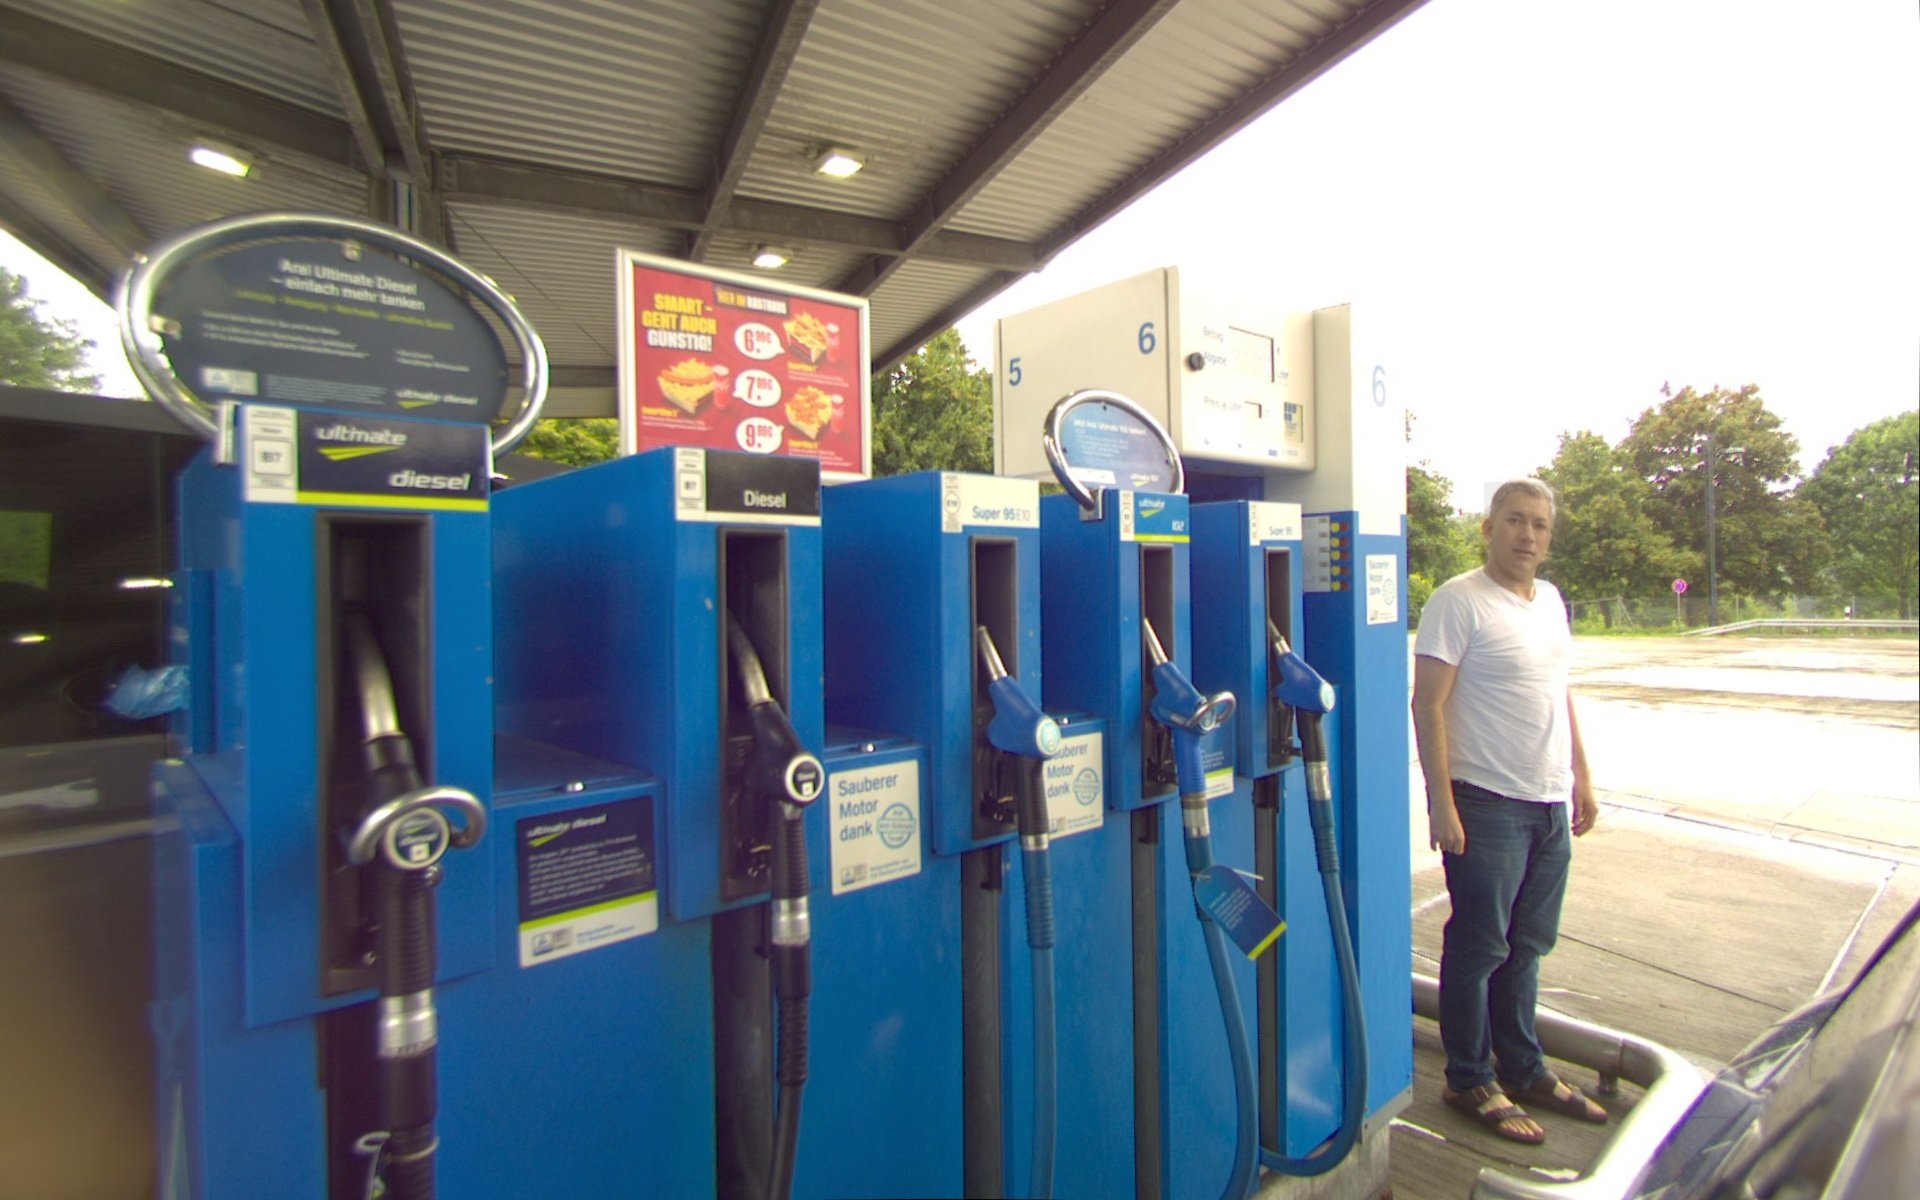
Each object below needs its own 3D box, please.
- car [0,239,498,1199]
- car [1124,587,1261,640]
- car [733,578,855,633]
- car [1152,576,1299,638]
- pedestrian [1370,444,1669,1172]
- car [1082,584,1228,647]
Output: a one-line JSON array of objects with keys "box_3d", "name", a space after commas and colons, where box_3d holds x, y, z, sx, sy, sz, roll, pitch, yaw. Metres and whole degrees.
[{"box_3d": [-3.024, 0.409, 1.482, 3.930, 1.973, 1.819, 0, 0, -41], "name": "car"}, {"box_3d": [7.396, 0.404, 32.150, 4.123, 1.576, 1.990, 0, 0, 17], "name": "car"}, {"box_3d": [-5.535, 0.152, 33.449, 1.967, 1.683, 4.170, 0, 0, -44], "name": "car"}, {"box_3d": [8.933, 0.207, 34.335, 4.700, 2.011, 2.007, 0, 0, 14], "name": "car"}, {"box_3d": [1.607, 0.513, 2.915, 0.621, 1.832, 0.495, -2, 1, -31], "name": "pedestrian"}, {"box_3d": [5.808, 0.420, 30.016, 4.123, 1.752, 1.990, 0, 0, 17], "name": "car"}]
